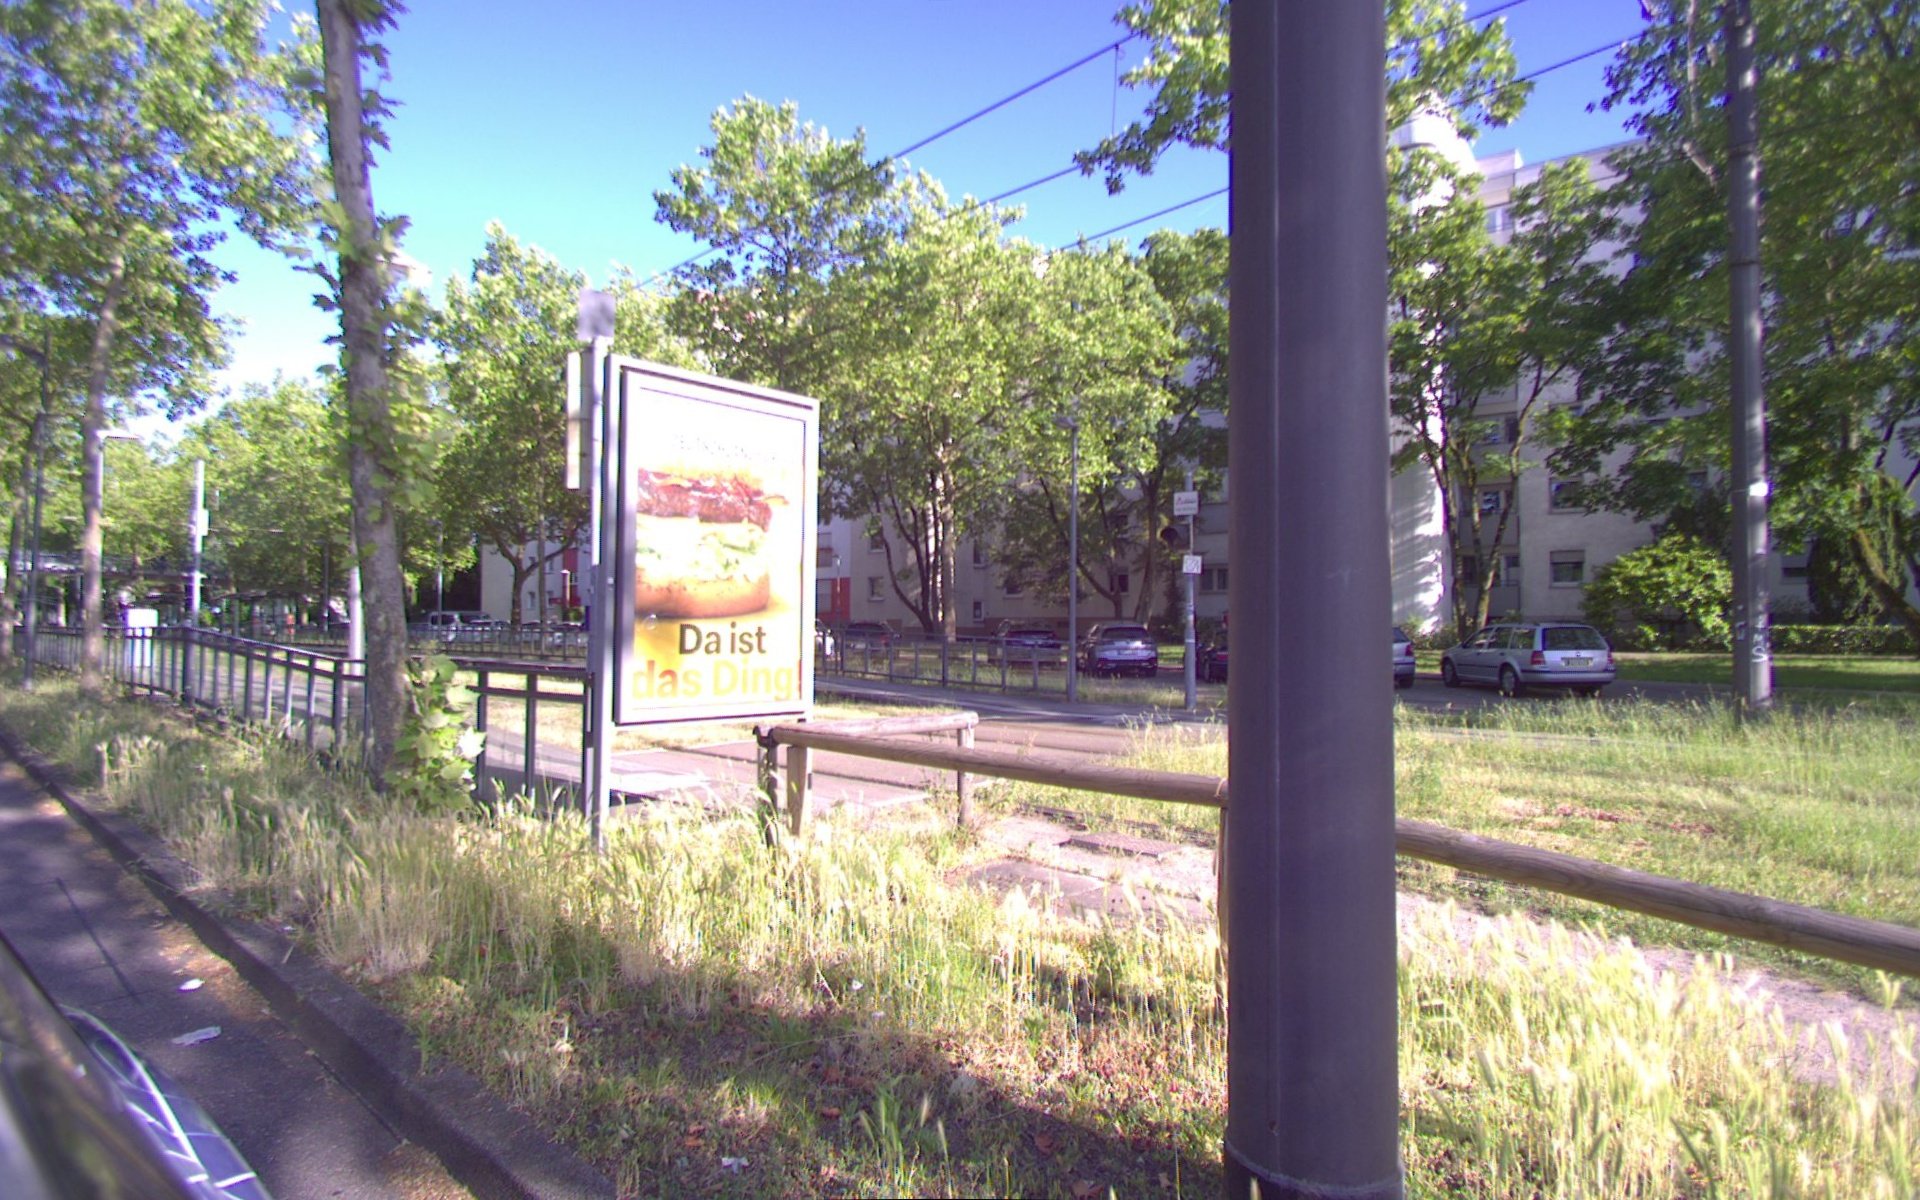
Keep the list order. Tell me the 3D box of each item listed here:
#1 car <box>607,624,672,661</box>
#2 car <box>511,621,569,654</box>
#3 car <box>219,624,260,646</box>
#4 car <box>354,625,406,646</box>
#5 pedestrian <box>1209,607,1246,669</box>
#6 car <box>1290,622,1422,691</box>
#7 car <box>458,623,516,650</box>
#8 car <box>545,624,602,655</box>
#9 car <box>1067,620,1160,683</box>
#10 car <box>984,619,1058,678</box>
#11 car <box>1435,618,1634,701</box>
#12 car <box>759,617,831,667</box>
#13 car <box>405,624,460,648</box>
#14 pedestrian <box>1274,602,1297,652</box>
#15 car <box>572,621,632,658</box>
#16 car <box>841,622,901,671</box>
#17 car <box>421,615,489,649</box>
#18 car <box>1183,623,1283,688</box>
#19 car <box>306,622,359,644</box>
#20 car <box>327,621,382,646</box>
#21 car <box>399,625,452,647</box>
[{"bbox_3d":[-14.031,1.845,44.480,1.470,1.425,3.880,-1,0,3],"label":"car"},{"bbox_3d":[-21.154,1.856,51.066,1.539,1.436,3.489,-3,0,-2],"label":"car"},{"bbox_3d":[-52.495,2.498,73.702,1.785,1.534,4.333,1,-2,-44],"label":"car"},{"bbox_3d":[-37.755,2.279,65.989,1.459,1.330,3.488,0,-1,-1],"label":"car"},{"bbox_3d":[7.787,1.085,29.472,0.755,1.770,0.752,-2,-2,41],"label":"pedestrian"},{"bbox_3d":[9.098,1.256,23.556,1.553,1.431,3.620,-1,-1,-1],"label":"car"},{"bbox_3d":[-25.849,1.994,55.460,1.605,1.414,3.488,0,-1,-1],"label":"car"},{"bbox_3d":[-18.831,1.909,49.438,1.459,1.339,3.488,-2,0,-1],"label":"car"},{"bbox_3d":[4.109,1.345,27.706,1.650,1.469,4.004,-1,0,-4],"label":"car"},{"bbox_3d":[1.723,1.377,29.751,1.669,1.499,4.003,-1,0,-4],"label":"car"},{"bbox_3d":[11.551,1.132,20.697,1.685,1.454,3.978,-1,0,-2],"label":"car"},{"bbox_3d":[-5.997,1.490,37.214,1.791,1.607,3.997,-1,0,3],"label":"car"},{"bbox_3d":[-30.923,2.098,59.427,1.459,1.354,3.488,0,-1,-1],"label":"car"},{"bbox_3d":[11.770,0.970,36.633,0.634,1.770,0.516,-1,-2,39],"label":"pedestrian"},{"bbox_3d":[-16.549,1.806,46.961,1.445,1.519,3.393,-1,0,3],"label":"car"},{"bbox_3d":[-3.007,1.547,34.665,1.538,1.439,3.761,-1,0,3],"label":"car"},{"bbox_3d":[-28.409,1.789,57.024,1.843,1.826,4.047,0,-1,0],"label":"car"},{"bbox_3d":[6.749,1.330,25.357,1.572,1.360,3.922,-1,0,3],"label":"car"},{"bbox_3d":[-44.905,2.348,72.505,1.578,1.538,3.737,0,-1,-3],"label":"car"},{"bbox_3d":[-40.730,2.229,68.200,1.578,1.582,3.830,0,-1,-3],"label":"car"},{"bbox_3d":[-33.041,2.213,62.634,1.459,1.311,3.488,0,-1,-1],"label":"car"}]
